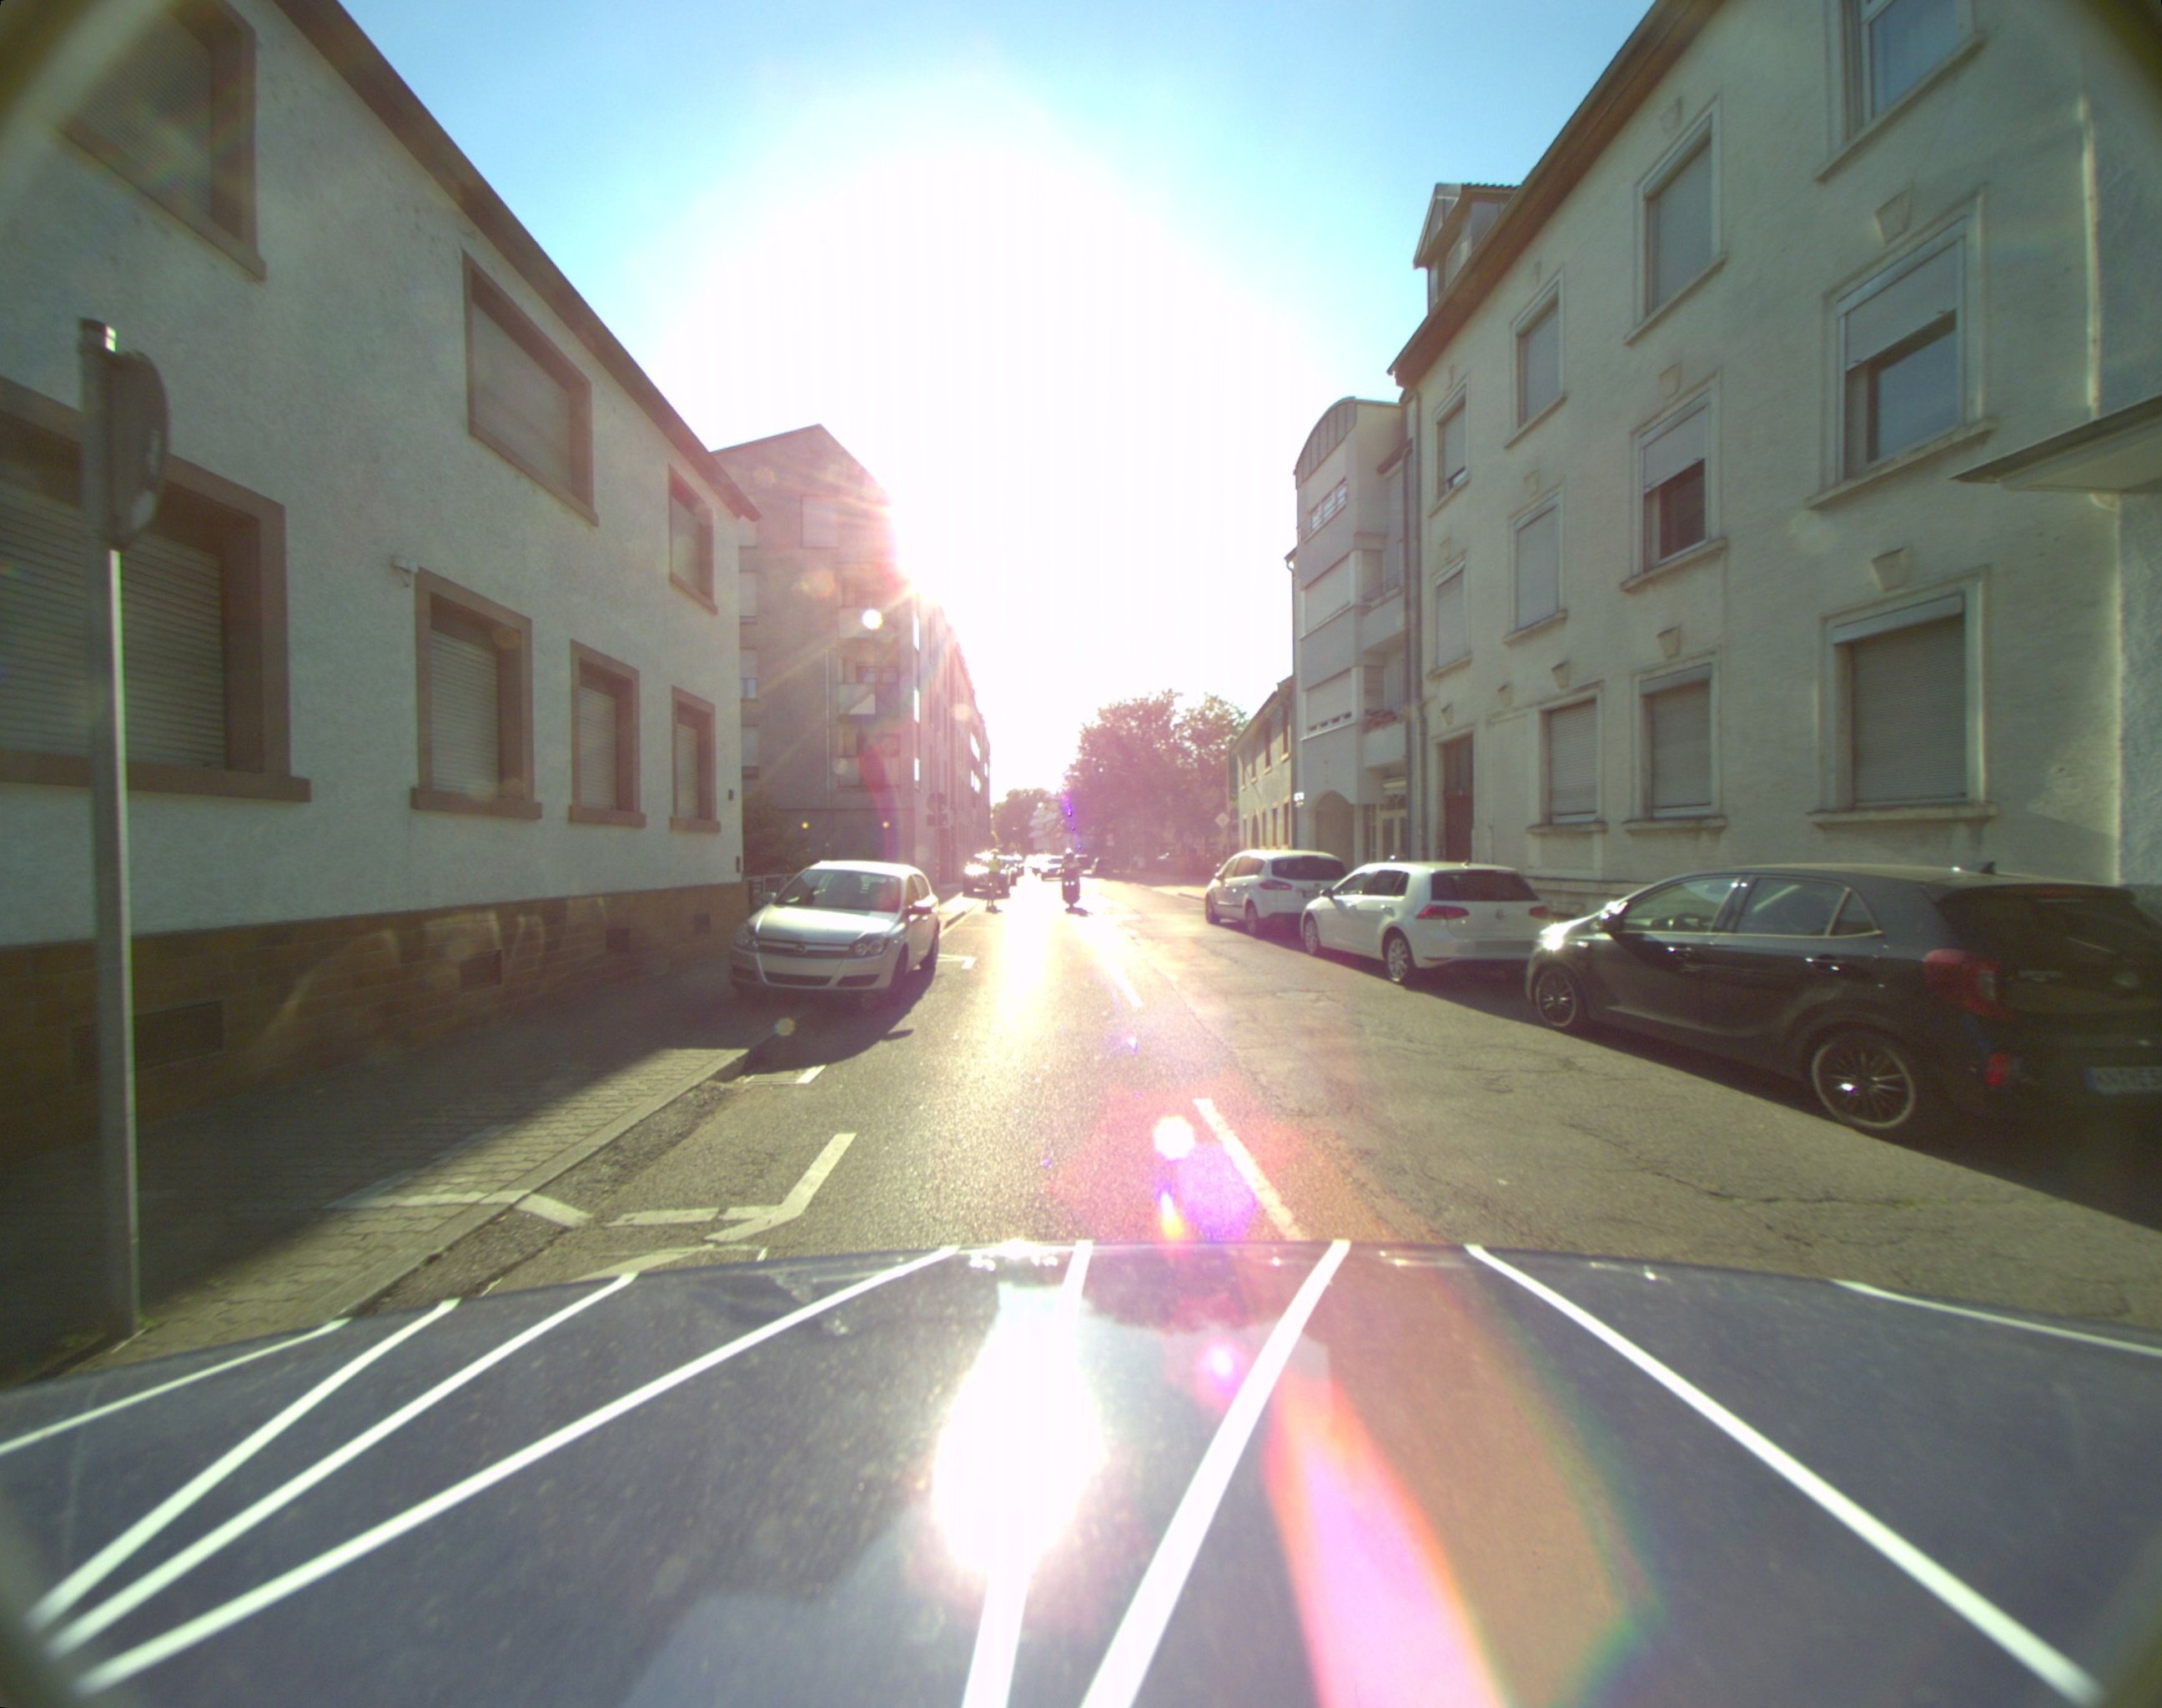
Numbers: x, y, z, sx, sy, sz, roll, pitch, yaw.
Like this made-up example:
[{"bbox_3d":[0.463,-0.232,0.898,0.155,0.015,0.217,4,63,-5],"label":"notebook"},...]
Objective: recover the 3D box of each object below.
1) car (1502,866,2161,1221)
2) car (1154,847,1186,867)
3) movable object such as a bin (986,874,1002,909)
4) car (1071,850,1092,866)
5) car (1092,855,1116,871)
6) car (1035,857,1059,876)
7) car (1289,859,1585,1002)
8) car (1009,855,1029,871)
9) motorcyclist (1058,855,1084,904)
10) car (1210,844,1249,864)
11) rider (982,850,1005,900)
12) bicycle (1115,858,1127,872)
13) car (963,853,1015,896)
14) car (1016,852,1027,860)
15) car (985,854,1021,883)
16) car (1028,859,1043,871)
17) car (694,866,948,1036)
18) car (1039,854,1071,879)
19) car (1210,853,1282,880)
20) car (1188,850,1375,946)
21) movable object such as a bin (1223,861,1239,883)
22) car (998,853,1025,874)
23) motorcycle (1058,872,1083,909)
[{"bbox_3d":[4.946,0.885,5.338,1.665,1.517,3.807,1,0,-4],"label":"car"},{"bbox_3d":[8.608,0.266,73.703,1.849,1.884,4.902,-1,0,-8],"label":"car"},{"bbox_3d":[-2.884,1.223,25.267,0.456,1.027,1.839,-3,2,-6],"label":"movable object such as a bin"},{"bbox_3d":[0.019,0.473,90.061,1.937,1.695,5.097,-3,1,-6],"label":"car"},{"bbox_3d":[2.100,0.812,71.191,1.702,1.483,3.997,0,1,-6],"label":"car"},{"bbox_3d":[-2.878,1.038,63.705,1.822,1.458,4.267,0,0,-6],"label":"car"},{"bbox_3d":[4.419,0.837,10.251,1.770,1.487,4.124,0,0,-5],"label":"car"},{"bbox_3d":[-5.906,0.810,72.204,1.822,1.458,4.267,0,0,-6],"label":"car"},{"bbox_3d":[-0.300,0.734,22.617,0.718,1.424,0.746,0,1,-6],"label":"motorcyclist"},{"bbox_3d":[14.524,-0.019,74.678,2.025,1.937,4.317,-1,0,-16],"label":"car"},{"bbox_3d":[-2.868,0.681,25.052,0.655,1.553,1.082,-3,2,-6],"label":"rider"},{"bbox_3d":[2.987,0.808,57.051,0.705,0.997,1.941,-1,1,-1],"label":"bicycle"},{"bbox_3d":[-3.866,0.824,32.667,1.860,1.626,4.621,2,0,-3],"label":"car"},{"bbox_3d":[-13.017,0.454,166.278,2.000,1.666,3.997,-1,0,-8],"label":"car"},{"bbox_3d":[-4.681,0.823,45.549,2.000,1.643,4.760,0,0,-6],"label":"car"},{"bbox_3d":[-5.884,1.349,97.563,1.822,1.458,4.267,0,0,-6],"label":"car"},{"bbox_3d":[-2.804,0.945,9.307,1.746,1.483,4.437,1,0,-3],"label":"car"},{"bbox_3d":[-1.809,0.845,52.071,1.709,1.570,3.912,-2,1,-8],"label":"car"},{"bbox_3d":[9.732,0.721,44.946,3.778,1.521,1.999,0,0,-3],"label":"car"},{"bbox_3d":[3.888,0.758,15.859,2.000,1.638,5.218,-1,0,-6],"label":"car"},{"bbox_3d":[7.393,0.876,37.404,0.600,1.088,0.751,-1,1,-3],"label":"movable object such as a bin"},{"bbox_3d":[-5.998,0.825,66.194,1.894,1.702,4.774,0,0,0],"label":"car"},{"bbox_3d":[-0.325,1.077,22.814,0.599,1.004,1.820,0,1,-6],"label":"motorcycle"}]
